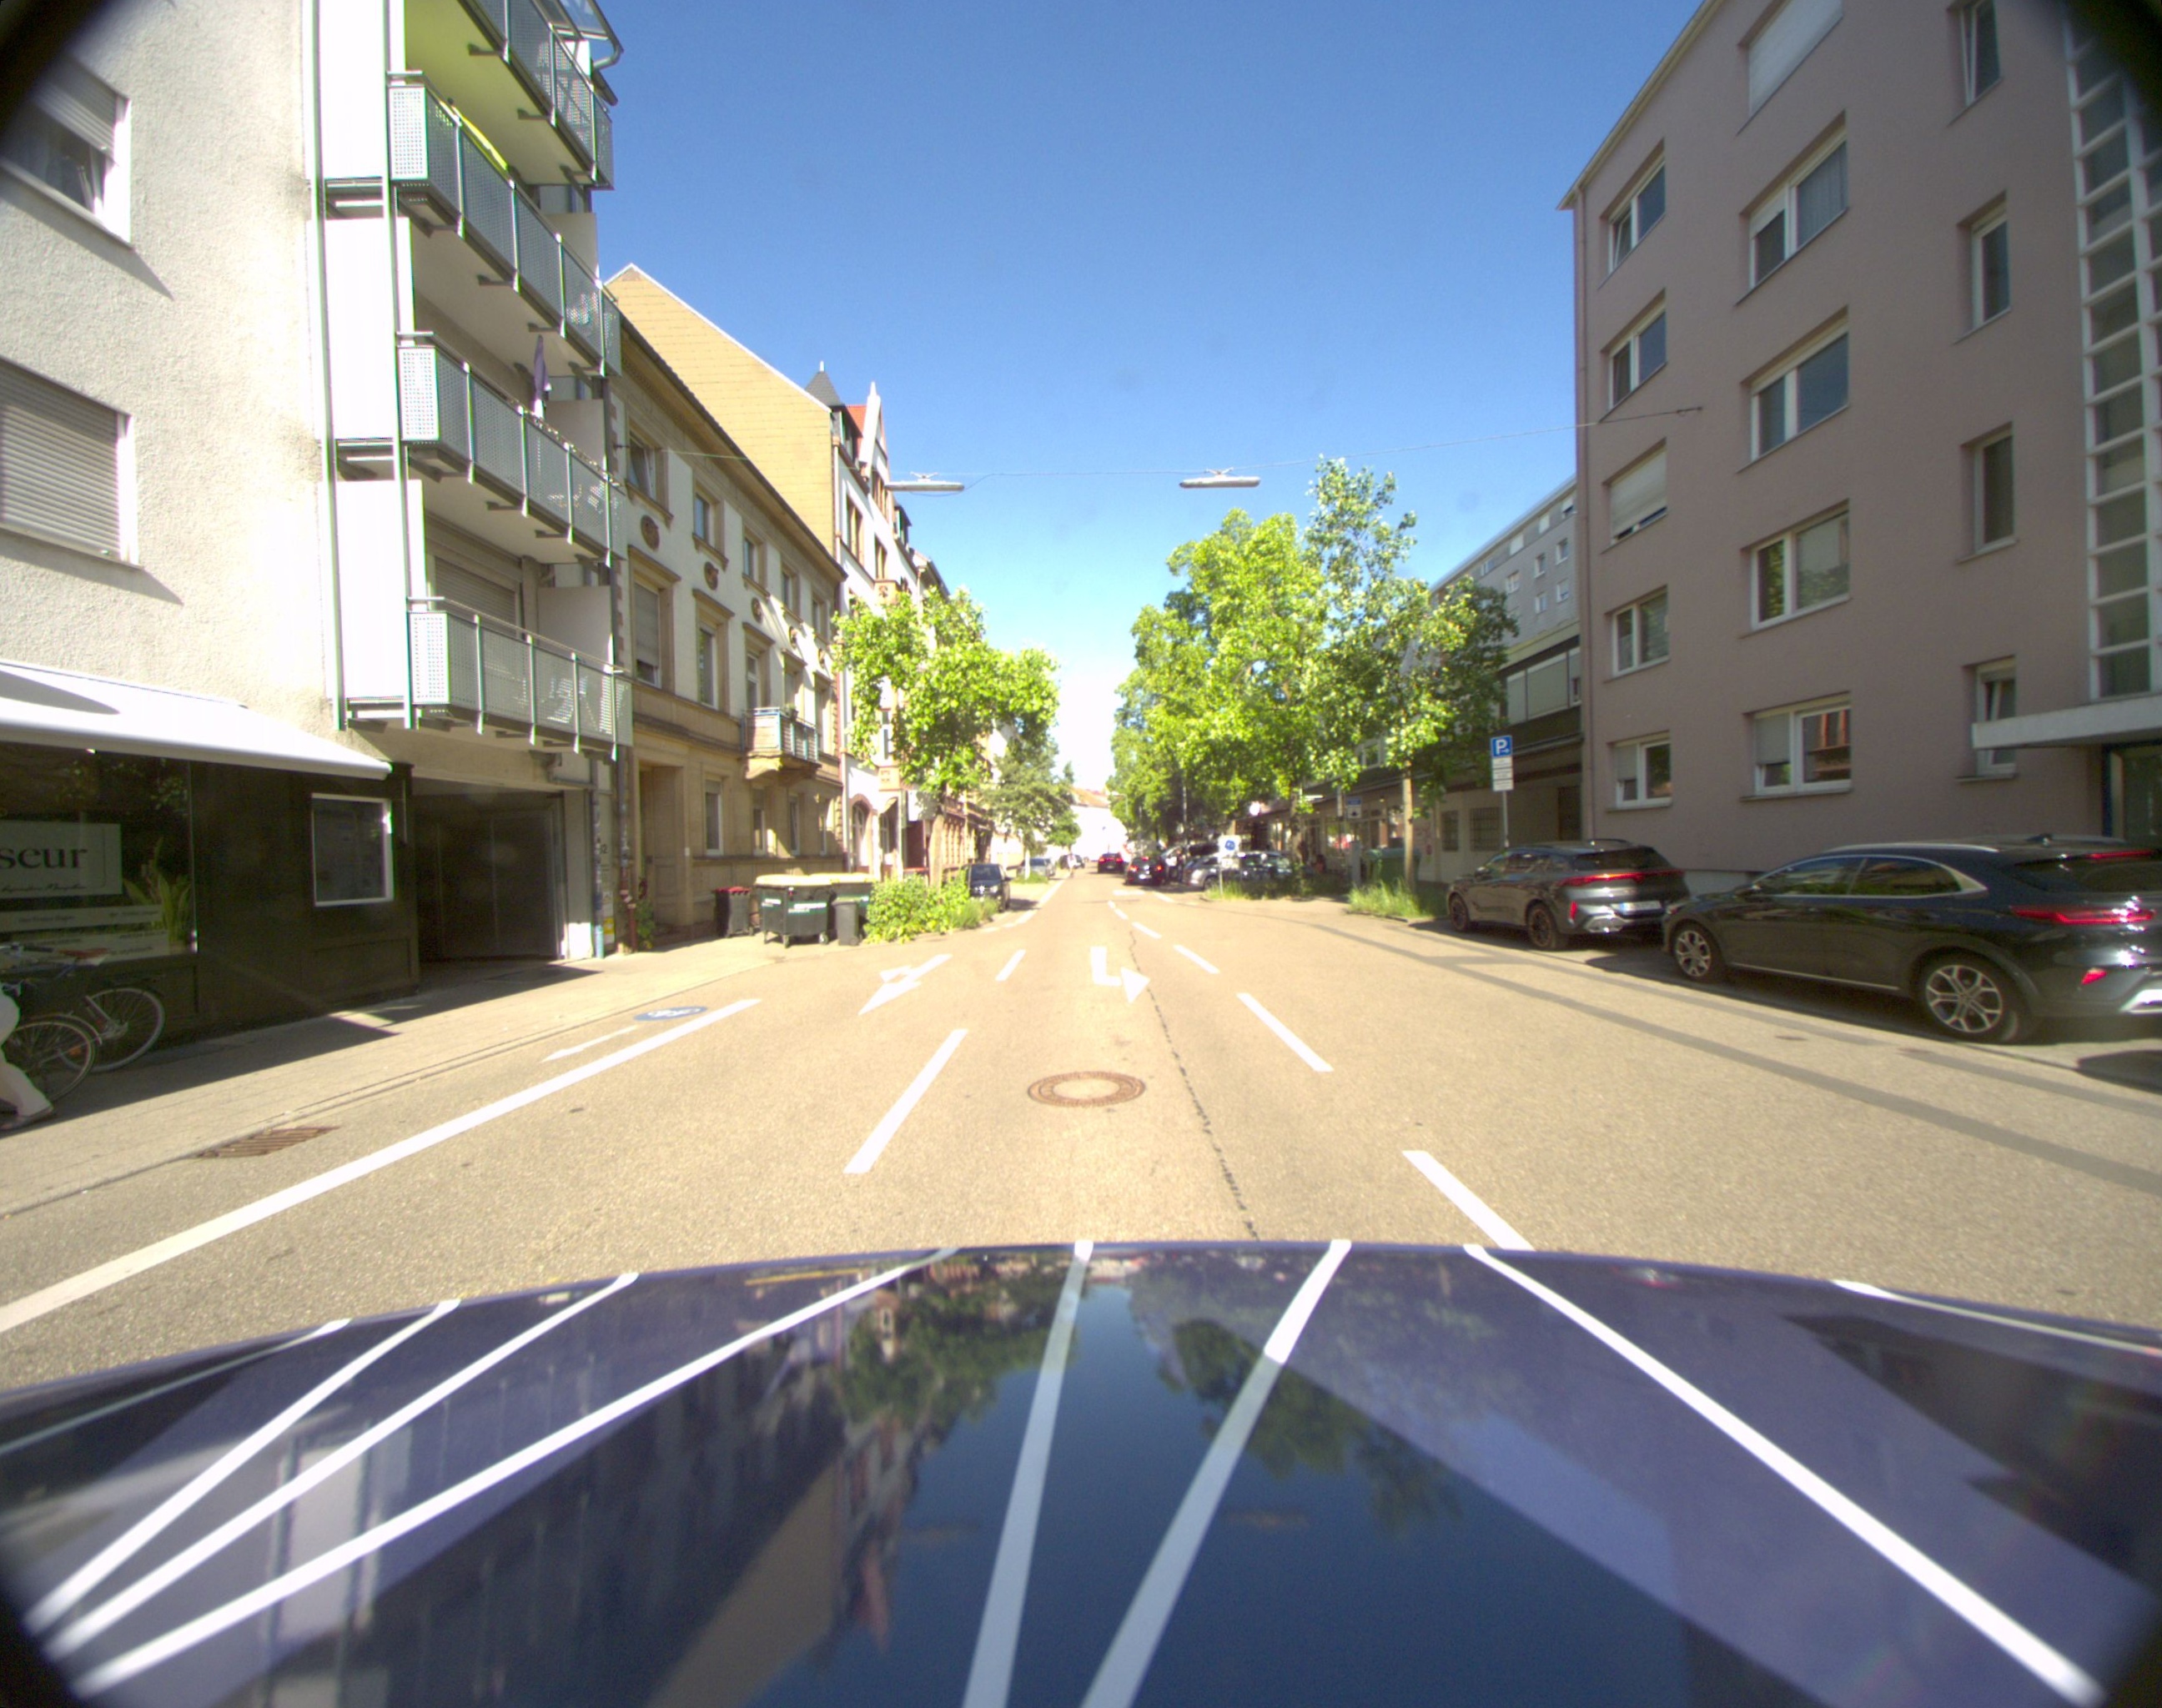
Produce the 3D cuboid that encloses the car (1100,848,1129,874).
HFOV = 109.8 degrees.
[{"bbox_3d":[2.492,0.505,57.390,1.994,1.599,4.259,-3,3,1],"label":"car"}]

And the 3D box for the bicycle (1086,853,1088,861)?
[{"bbox_3d":[0.959,0.501,121.435,0.422,1.292,1.762,-2,0,0],"label":"bicycle"}]

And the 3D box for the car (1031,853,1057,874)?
[{"bbox_3d":[-2.645,0.662,55.202,1.653,1.483,3.290,-2,0,0],"label":"car"}]

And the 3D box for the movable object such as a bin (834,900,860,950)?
[{"bbox_3d":[-4.586,1.389,14.888,0.401,0.916,0.484,0,2,-7],"label":"movable object such as a bin"}]

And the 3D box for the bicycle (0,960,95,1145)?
[{"bbox_3d":[-7.228,1.328,4.503,0.402,1.126,1.792,2,1,1],"label":"bicycle"}]

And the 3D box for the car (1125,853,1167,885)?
[{"bbox_3d":[3.181,0.720,37.844,1.867,1.455,4.000,-2,0,3],"label":"car"}]

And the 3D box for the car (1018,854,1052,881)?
[{"bbox_3d":[-2.756,0.773,45.888,1.759,1.492,3.949,-2,0,0],"label":"car"}]

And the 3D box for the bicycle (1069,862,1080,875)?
[{"bbox_3d":[-0.448,0.974,52.826,0.612,0.876,1.813,-1,-1,-4],"label":"bicycle"}]

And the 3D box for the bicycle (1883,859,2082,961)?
[{"bbox_3d":[10.754,0.621,9.156,0.391,1.070,1.650,-6,1,2],"label":"bicycle"}]

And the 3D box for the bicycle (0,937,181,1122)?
[{"bbox_3d":[-7.752,1.286,5.446,0.402,1.171,1.792,-2,0,1],"label":"bicycle"}]

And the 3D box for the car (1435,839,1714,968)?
[{"bbox_3d":[7.583,0.651,12.258,1.821,1.583,4.141,-5,0,2],"label":"car"}]

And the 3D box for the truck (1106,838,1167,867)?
[{"bbox_3d":[5.199,-0.167,71.605,5.322,2.581,1.998,-2,1,-9],"label":"truck"}]

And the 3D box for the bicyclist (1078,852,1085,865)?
[{"bbox_3d":[0.098,0.574,96.038,0.748,1.588,0.613,-3,1,1],"label":"bicyclist"}]

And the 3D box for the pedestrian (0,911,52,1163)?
[{"bbox_3d":[-7.073,1.133,4.438,0.825,1.529,0.946,2,1,1],"label":"pedestrian"}]

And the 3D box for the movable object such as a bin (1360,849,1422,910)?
[{"bbox_3d":[8.126,0.642,19.994,1.247,1.536,1.019,-2,1,5],"label":"movable object such as a bin"}]

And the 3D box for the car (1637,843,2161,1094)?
[{"bbox_3d":[7.510,0.712,6.928,1.821,1.499,4.245,-4,0,2],"label":"car"}]

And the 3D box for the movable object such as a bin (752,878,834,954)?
[{"bbox_3d":[-5.596,1.165,14.777,1.212,1.318,1.052,2,3,42],"label":"movable object such as a bin"}]

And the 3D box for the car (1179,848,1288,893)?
[{"bbox_3d":[6.079,0.642,30.670,3.997,1.665,2.000,-2,1,1],"label":"car"}]

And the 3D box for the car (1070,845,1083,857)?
[{"bbox_3d":[-0.666,-0.549,127.588,1.998,2.002,4.000,-2,0,1],"label":"car"}]

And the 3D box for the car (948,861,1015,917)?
[{"bbox_3d":[-2.978,1.018,23.365,1.551,1.483,3.351,-2,0,0],"label":"car"}]

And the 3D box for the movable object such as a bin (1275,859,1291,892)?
[{"bbox_3d":[7.611,0.790,28.676,0.488,1.218,0.409,-2,1,1],"label":"movable object such as a bin"}]

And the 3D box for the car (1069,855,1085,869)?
[{"bbox_3d":[-0.401,0.851,80.436,1.653,1.447,3.290,-2,0,1],"label":"car"}]

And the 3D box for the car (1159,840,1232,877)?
[{"bbox_3d":[6.695,0.272,44.777,3.997,2.020,2.000,-2,1,1],"label":"car"}]

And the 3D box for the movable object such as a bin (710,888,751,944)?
[{"bbox_3d":[-7.326,1.277,15.892,0.615,1.075,0.568,2,3,42],"label":"movable object such as a bin"}]

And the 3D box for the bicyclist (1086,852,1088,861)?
[{"bbox_3d":[0.963,0.332,121.431,0.417,1.415,0.324,-2,1,1],"label":"bicyclist"}]

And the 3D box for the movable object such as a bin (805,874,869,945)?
[{"bbox_3d":[-5.093,1.128,15.853,0.960,1.341,1.066,-1,2,-38],"label":"movable object such as a bin"}]

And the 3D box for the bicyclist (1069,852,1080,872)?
[{"bbox_3d":[-0.436,0.560,52.830,0.610,1.338,1.018,-2,0,-6],"label":"bicyclist"}]
